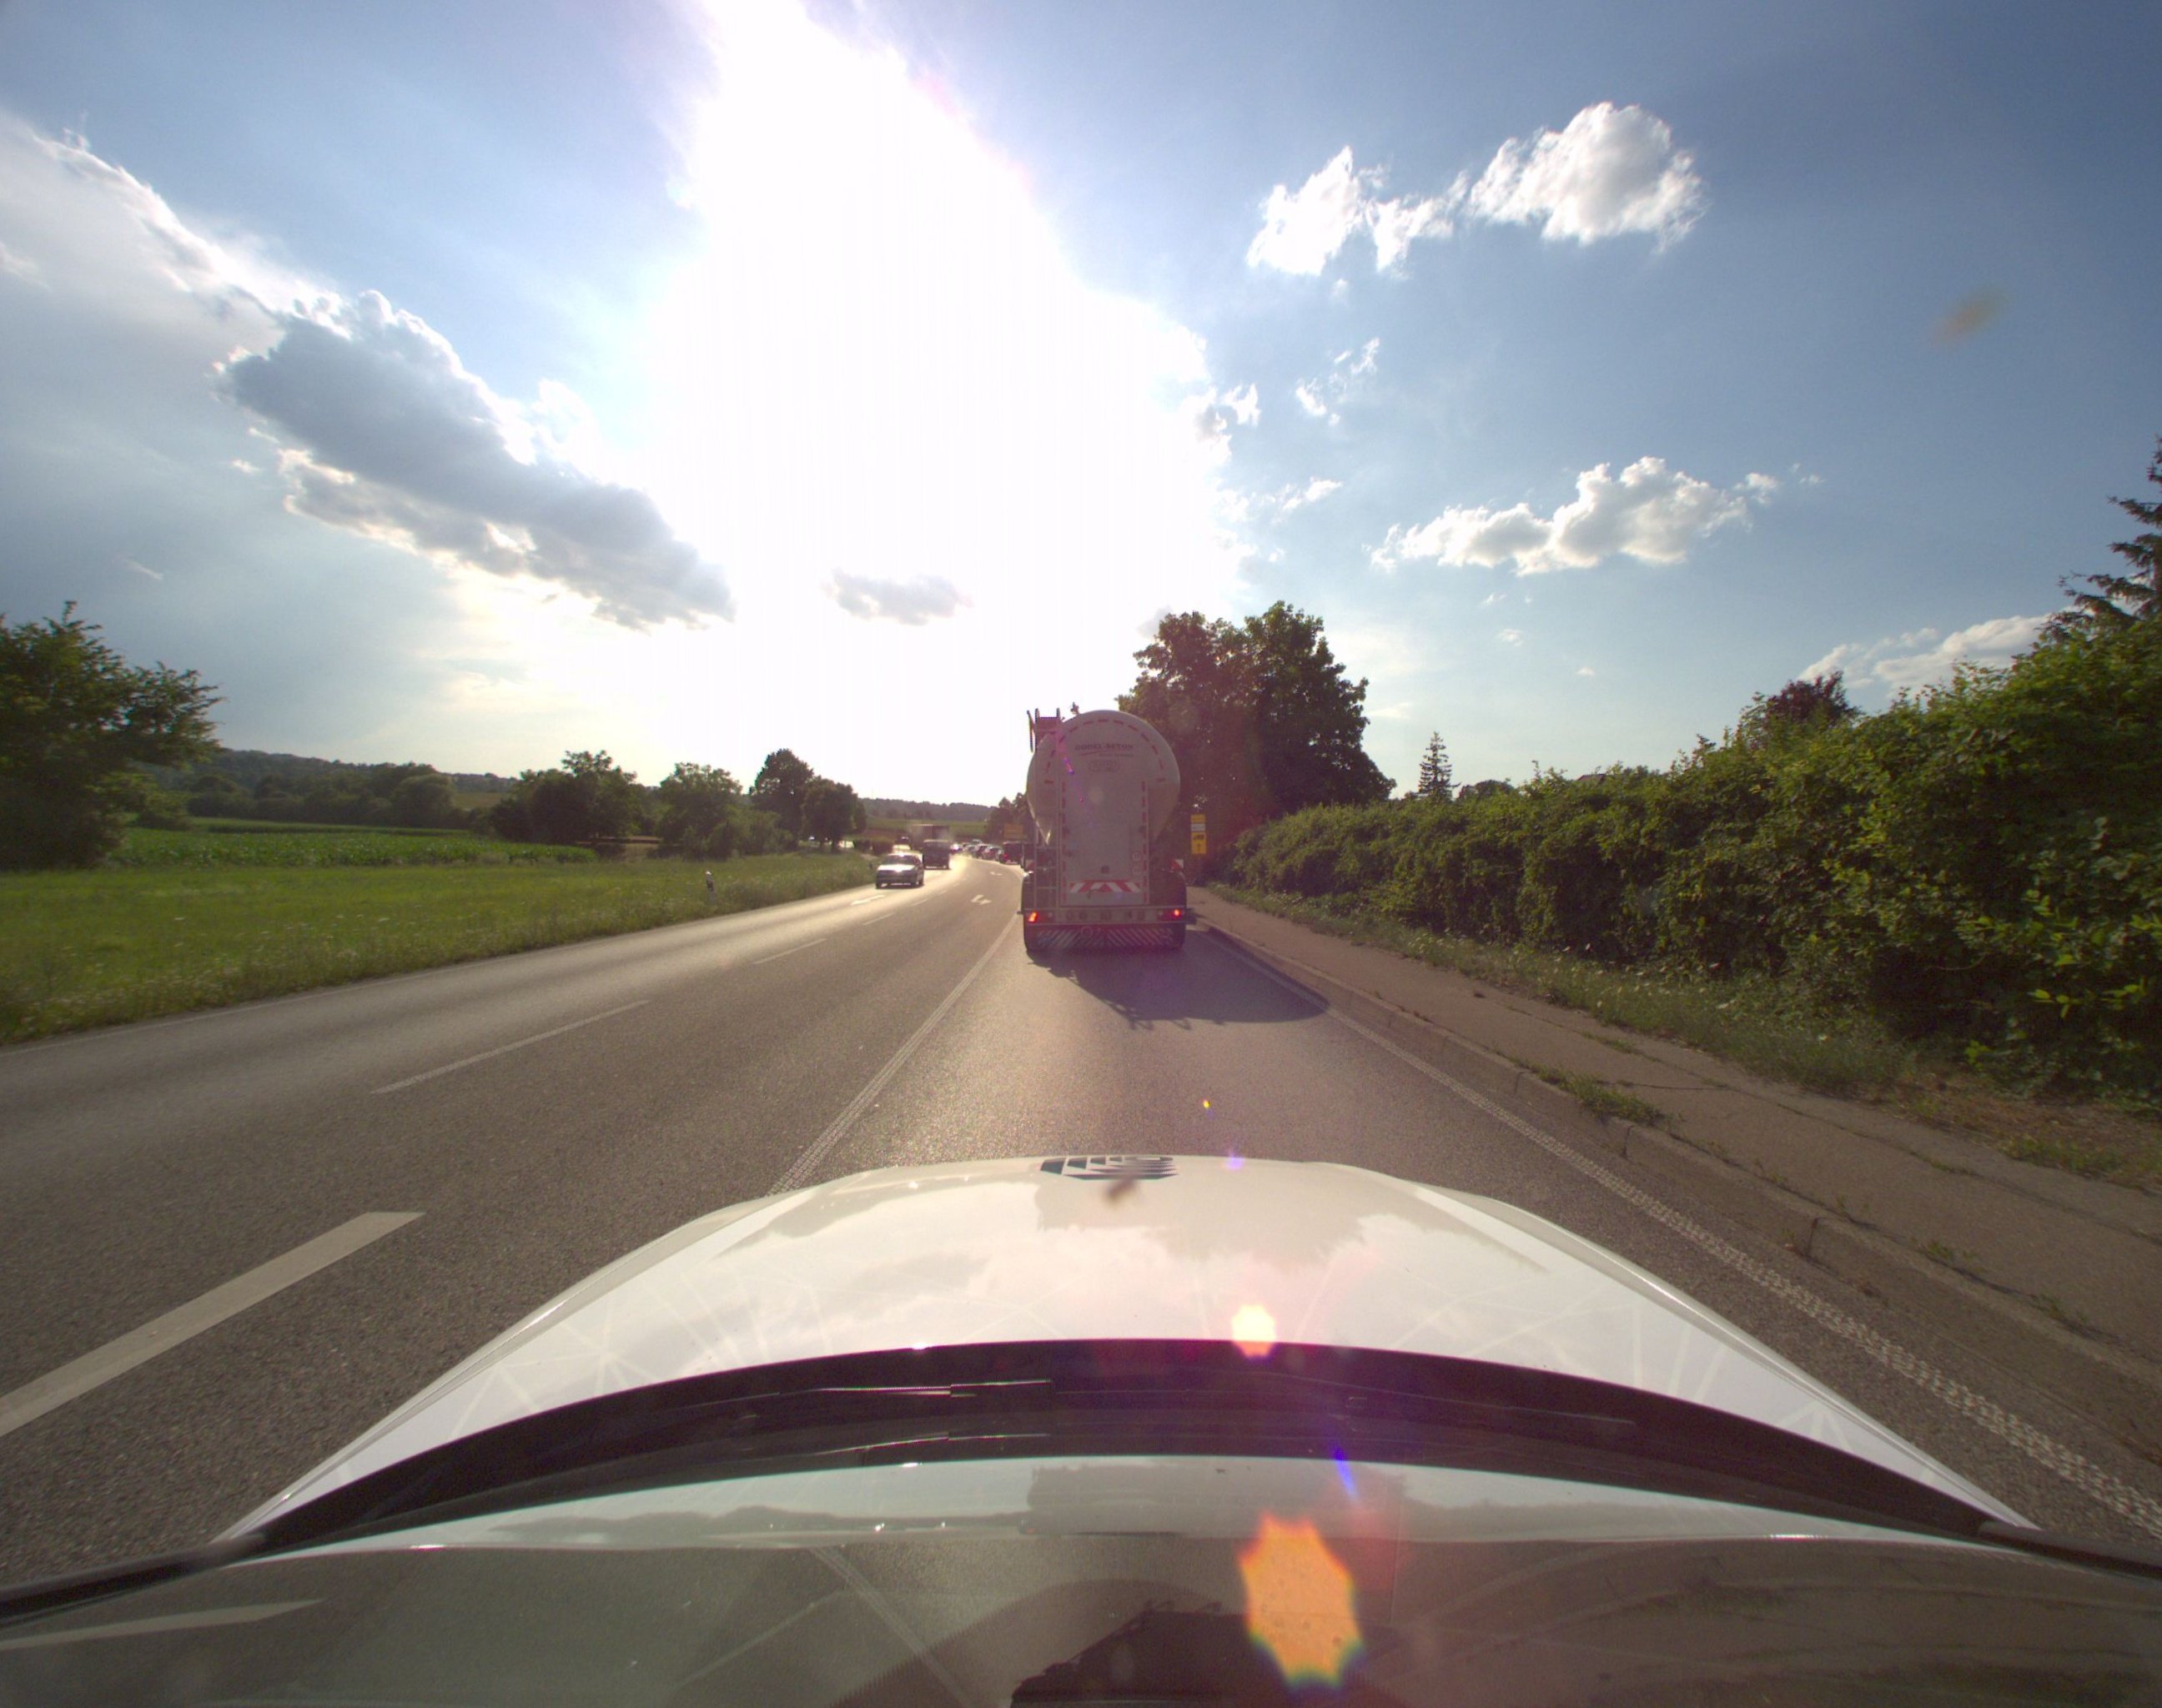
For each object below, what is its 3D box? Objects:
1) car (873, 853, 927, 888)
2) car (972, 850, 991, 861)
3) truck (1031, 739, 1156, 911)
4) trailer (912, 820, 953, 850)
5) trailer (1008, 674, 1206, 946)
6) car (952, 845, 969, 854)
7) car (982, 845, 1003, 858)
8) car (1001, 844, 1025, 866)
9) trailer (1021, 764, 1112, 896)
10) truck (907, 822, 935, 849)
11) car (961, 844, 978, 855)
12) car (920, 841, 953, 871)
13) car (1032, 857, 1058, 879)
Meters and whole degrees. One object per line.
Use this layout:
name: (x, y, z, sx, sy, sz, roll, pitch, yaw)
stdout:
car: (-7.861, 0.677, 35.608, 1.703, 1.428, 4.172, 0, 0, -4)
car: (-11.672, 0.161, 95.275, 1.584, 1.340, 3.406, 1, 0, -17)
truck: (0.266, -0.682, 21.105, 2.901, 4.006, 4.058, -1, 0, -1)
trailer: (-23.359, -2.903, 127.277, 3.390, 4.350, 14.186, 1, 0, -23)
trailer: (0.319, -0.678, 17.023, 2.901, 4.006, 9.925, -1, 0, -1)
car: (-16.252, -0.641, 109.663, 1.774, 1.206, 3.406, 1, 0, -17)
car: (-9.708, -0.267, 89.125, 1.584, 1.340, 3.406, 1, 0, -17)
car: (-6.247, 0.062, 74.885, 1.862, 2.013, 3.706, -1, 0, -10)
trailer: (-0.402, -0.839, 34.125, 2.945, 4.315, 14.176, 1, 0, 1)
truck: (-26.536, -2.998, 134.944, 3.390, 4.350, 5.662, 1, 0, -23)
car: (-14.136, -0.619, 103.399, 1.584, 1.340, 3.406, 1, 0, -17)
car: (-10.713, 0.116, 60.710, 1.995, 2.136, 4.771, 0, 0, -5)
car: (-2.318, 0.863, 52.215, 1.577, 1.340, 3.422, 1, 0, -3)
